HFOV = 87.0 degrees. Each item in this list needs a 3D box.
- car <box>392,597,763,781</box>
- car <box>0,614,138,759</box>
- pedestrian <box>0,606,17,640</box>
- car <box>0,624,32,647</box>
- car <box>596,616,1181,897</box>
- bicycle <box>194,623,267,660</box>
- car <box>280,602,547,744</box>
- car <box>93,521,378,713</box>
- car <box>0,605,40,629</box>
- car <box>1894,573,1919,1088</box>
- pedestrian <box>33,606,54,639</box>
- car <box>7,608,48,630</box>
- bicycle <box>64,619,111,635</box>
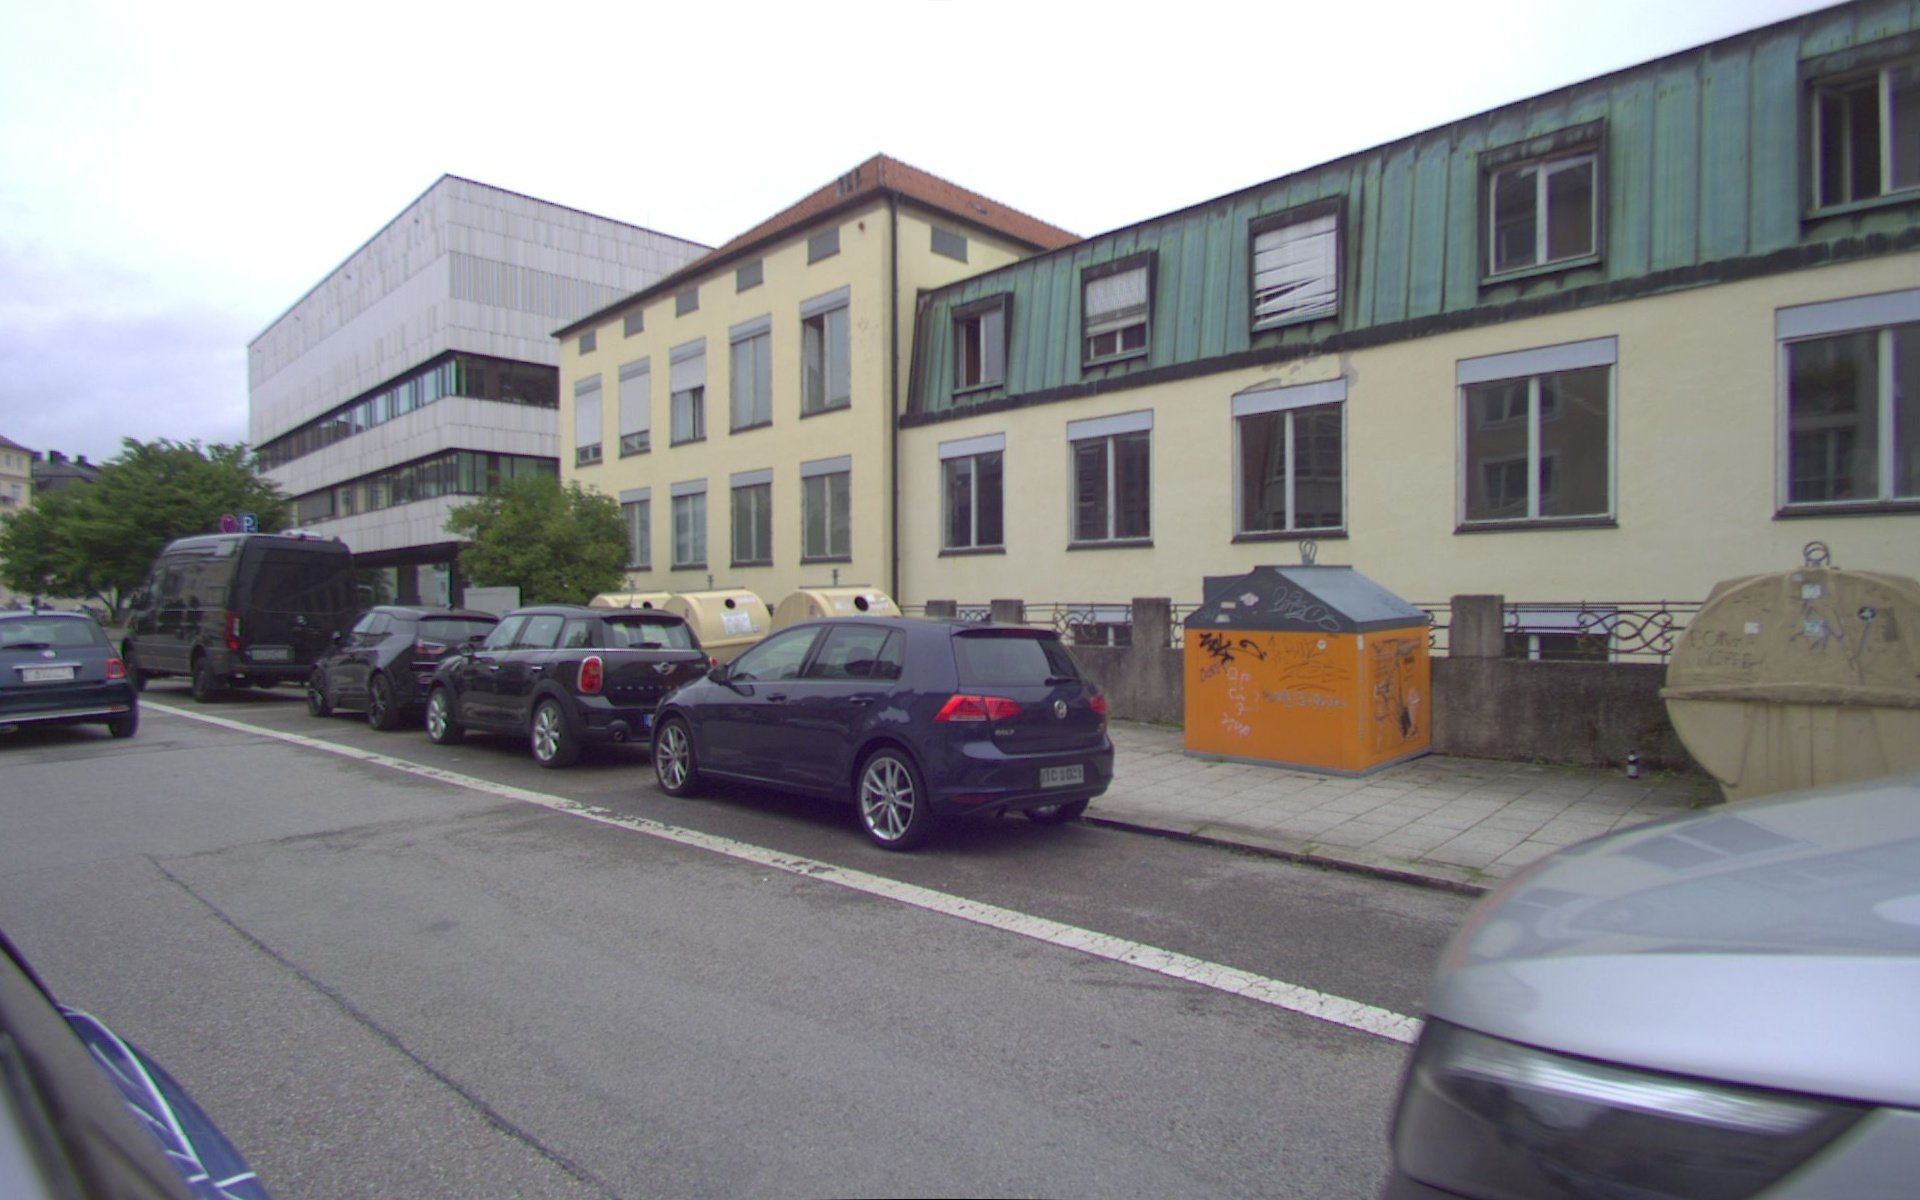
[{"bbox_3d":[-4.263,0.895,10.956,4.350,1.599,1.893,-2,-5,41],"label":"car"},{"bbox_3d":[-11.334,0.935,11.979,3.701,1.486,1.646,-1,0,37],"label":"car"},{"bbox_3d":[-51.029,1.227,54.152,0.516,1.799,0.778,-1,-1,37],"label":"pedestrian"},{"bbox_3d":[-85.731,3.195,91.683,1.862,2.029,4.011,0,0,-33],"label":"car"},{"bbox_3d":[-0.798,0.928,7.682,4.533,1.493,1.892,-2,-4,45],"label":"car"},{"bbox_3d":[-24.734,1.395,34.347,0.744,1.202,1.891,-1,0,38],"label":"bicycle"},{"bbox_3d":[-7.628,0.938,13.952,4.348,1.649,1.860,-1,-4,42],"label":"car"},{"bbox_3d":[-12.919,0.328,17.875,6.185,2.875,2.193,-1,-3,36],"label":"car"},{"bbox_3d":[-93.550,1.663,100.803,1.861,2.374,4.013,0,0,-27],"label":"car"},{"bbox_3d":[4.931,0.752,1.987,4.464,1.642,1.706,0,-3,41],"label":"car"},{"bbox_3d":[-51.325,1.261,56.676,0.516,1.799,0.778,-1,-1,37],"label":"pedestrian"},{"bbox_3d":[-89.677,1.789,97.346,1.861,2.029,4.013,0,0,-27],"label":"car"},{"bbox_3d":[-55.319,1.698,64.185,0.795,0.999,2.126,-1,-1,27],"label":"bicycle"}]
